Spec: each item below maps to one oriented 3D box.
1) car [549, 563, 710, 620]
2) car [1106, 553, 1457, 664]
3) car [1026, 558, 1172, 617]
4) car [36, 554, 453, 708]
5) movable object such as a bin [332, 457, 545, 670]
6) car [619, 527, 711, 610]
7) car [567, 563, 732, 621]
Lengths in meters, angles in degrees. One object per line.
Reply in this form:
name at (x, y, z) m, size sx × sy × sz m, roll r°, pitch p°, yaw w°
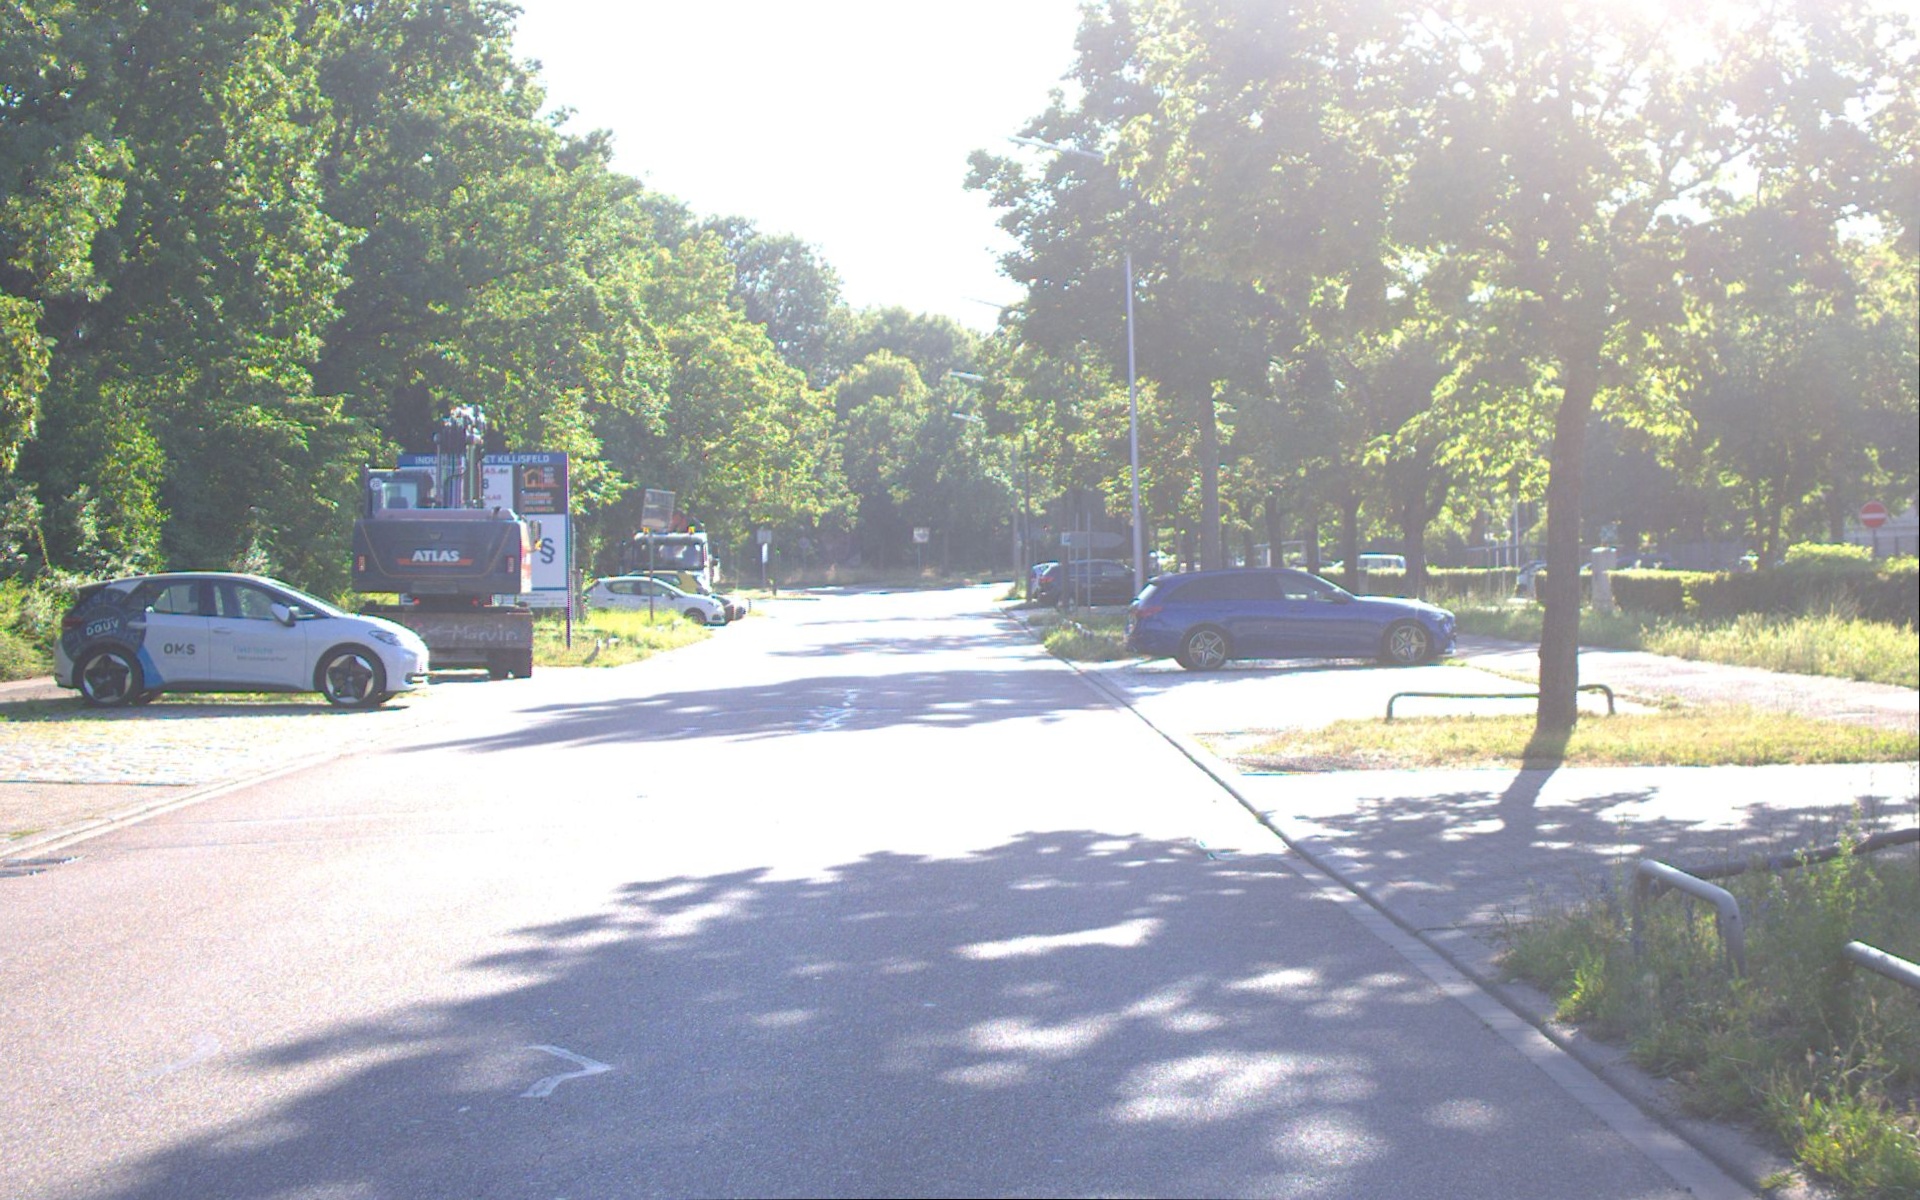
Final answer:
car at (-9.189, -0.251, 95.448) m, size 4.357 × 1.474 × 2.000 m, roll -1°, pitch 1°, yaw -7°
car at (4.566, 0.110, 49.351) m, size 4.841 × 1.474 × 2.000 m, roll -1°, pitch 1°, yaw 1°
car at (4.244, -0.386, 105.644) m, size 4.358 × 1.723 × 2.000 m, roll 1°, pitch 1°, yaw -1°
car at (-8.248, 0.339, 39.908) m, size 4.358 × 1.542 × 2.000 m, roll 3°, pitch 1°, yaw 1°
movable object such as a bin at (-7.916, -0.559, 52.679) m, size 2.838 × 3.058 × 4.928 m, roll -1°, pitch 1°, yaw -5°
car at (-8.796, -0.944, 102.245) m, size 2.516 × 2.378 × 4.374 m, roll -1°, pitch 1°, yaw -7°
car at (-8.413, -0.229, 92.868) m, size 4.357 × 1.474 × 2.000 m, roll -1°, pitch 1°, yaw -7°
